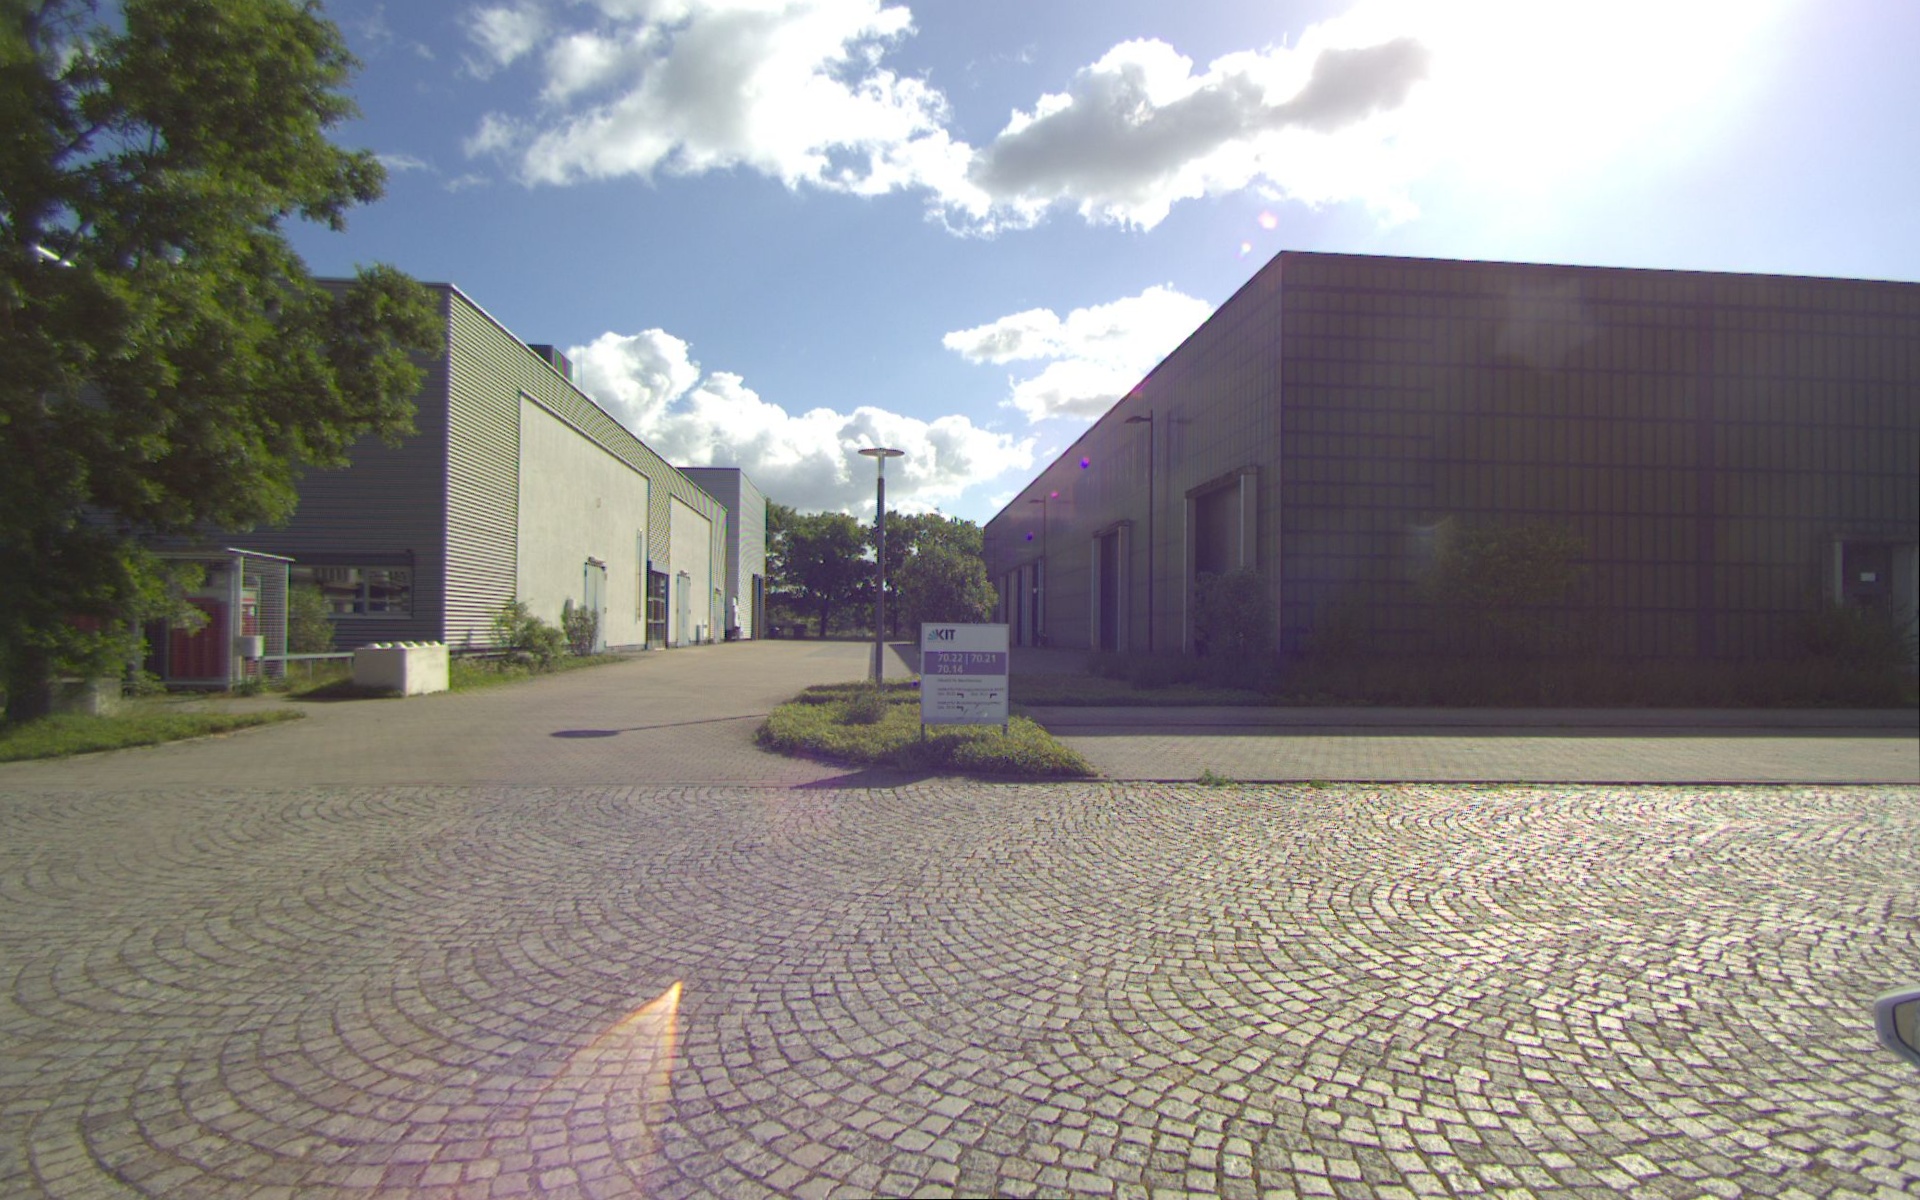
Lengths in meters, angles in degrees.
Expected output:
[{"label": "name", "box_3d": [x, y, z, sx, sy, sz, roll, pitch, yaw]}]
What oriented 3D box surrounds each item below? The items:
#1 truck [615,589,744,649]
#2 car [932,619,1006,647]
[{"label": "truck", "box_3d": [-18.805, 1.293, 67.662, 7.949, 3.868, 2.649, 1, -2, -5]}, {"label": "car", "box_3d": [0.521, 2.078, 63.440, 4.493, 1.685, 1.998, 1, -1, -6]}]
